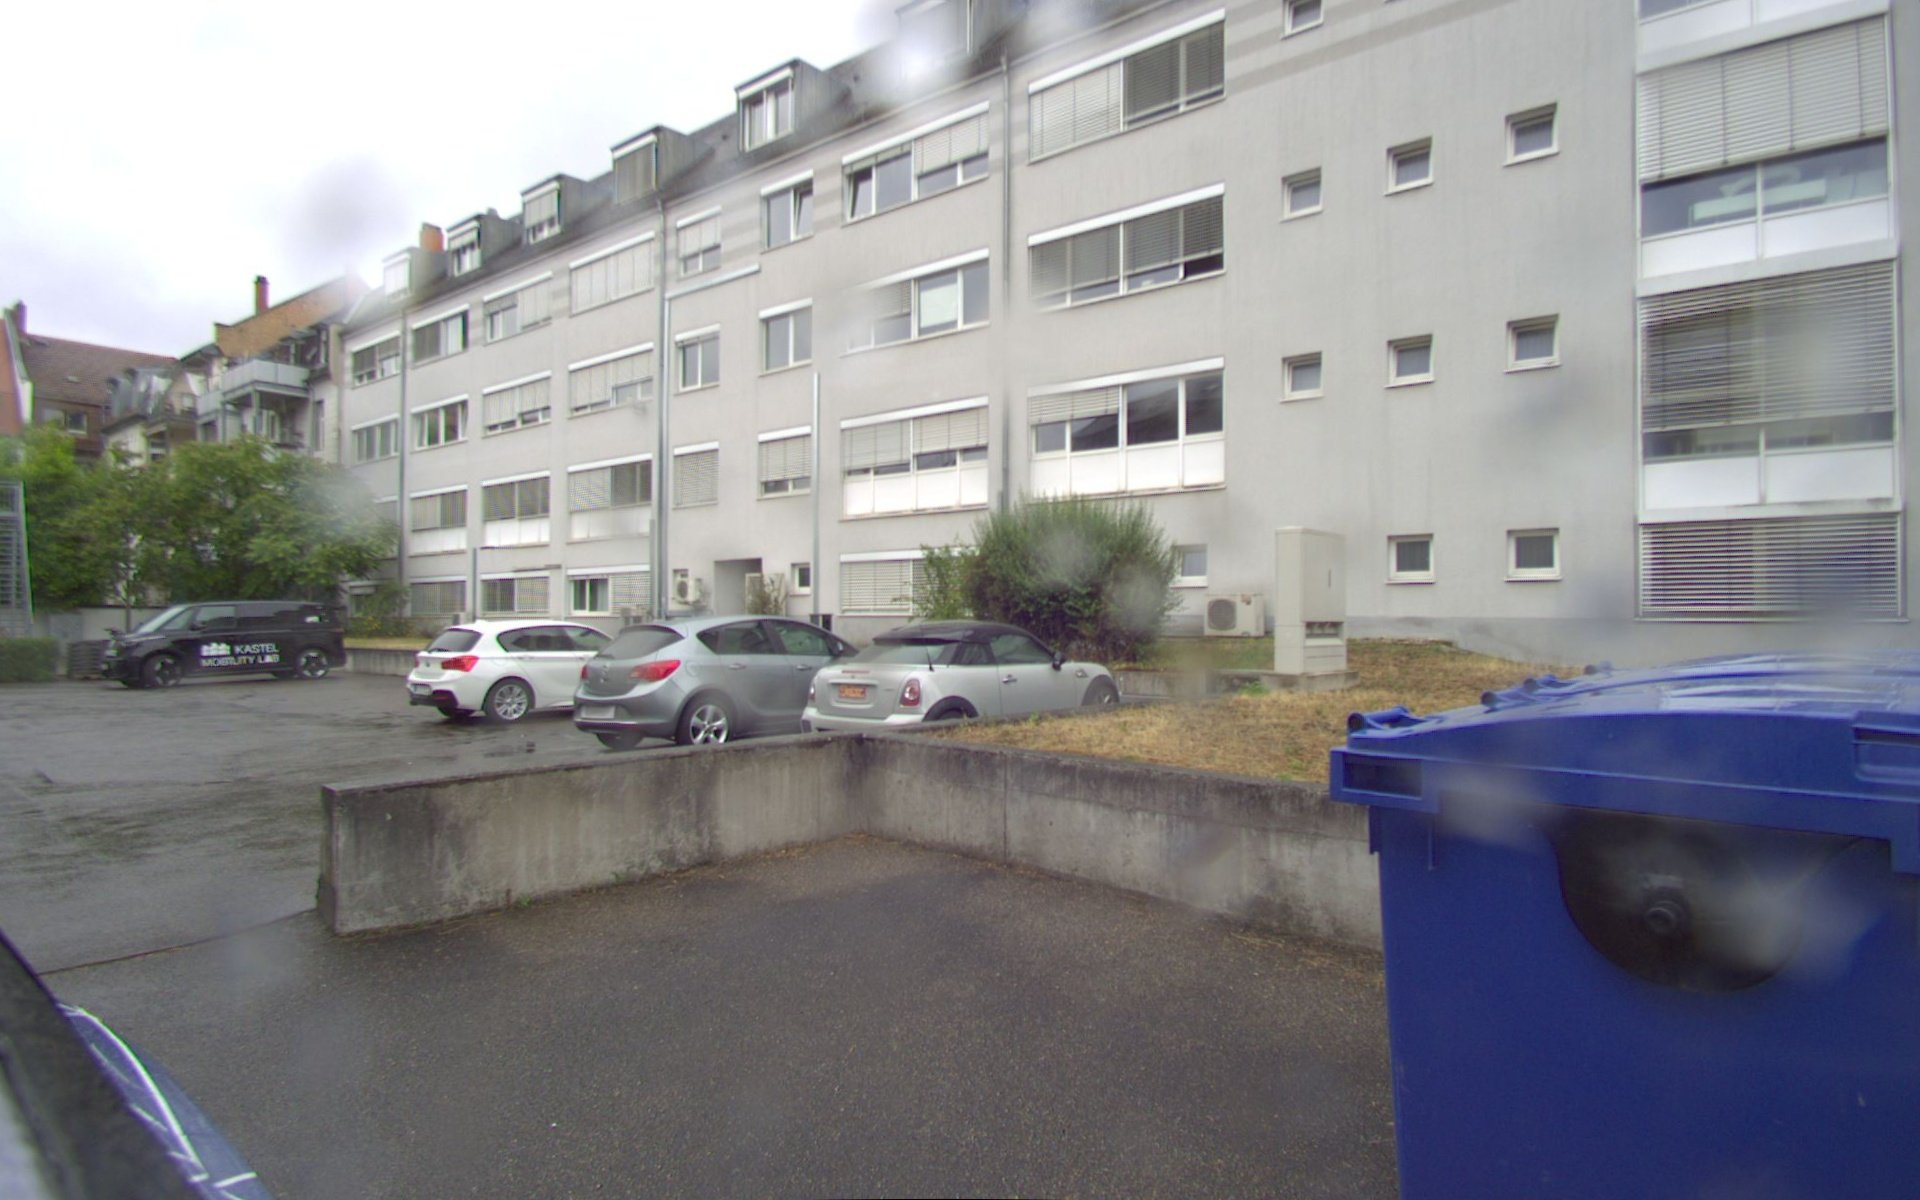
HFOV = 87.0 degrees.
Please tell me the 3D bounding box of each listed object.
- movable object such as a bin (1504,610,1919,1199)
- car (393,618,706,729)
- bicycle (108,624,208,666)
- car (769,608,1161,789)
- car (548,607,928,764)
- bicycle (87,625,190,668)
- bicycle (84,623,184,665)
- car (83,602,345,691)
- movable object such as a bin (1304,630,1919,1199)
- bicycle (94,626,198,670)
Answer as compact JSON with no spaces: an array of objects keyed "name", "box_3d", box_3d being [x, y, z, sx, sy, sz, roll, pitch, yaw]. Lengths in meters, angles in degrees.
[{"name":"movable object such as a bin","box_3d":[2.341,0.724,2.811,1.117,1.347,1.189,-4,-2,45]},{"name":"car","box_3d":[-6.092,1.004,15.410,1.751,1.444,4.099,-1,-1,39]},{"name":"bicycle","box_3d":[-24.308,1.330,30.705,0.644,1.195,2.287,2,1,44]},{"name":"car","box_3d":[0.247,0.847,10.479,1.821,1.343,4.123,-2,0,40]},{"name":"car","box_3d":[-2.404,0.866,11.812,1.820,1.495,4.124,-2,-2,39]},{"name":"bicycle","box_3d":[-24.204,1.340,29.848,0.644,1.195,2.287,2,1,44]},{"name":"bicycle","box_3d":[-25.020,1.312,30.685,0.644,1.195,2.287,2,1,44]},{"name":"car","box_3d":[-17.280,1.026,23.671,1.984,1.851,4.575,-3,-2,36]},{"name":"movable object such as a bin","box_3d":[1.451,0.738,1.851,1.188,1.347,1.118,1,-1,-42]},{"name":"bicycle","box_3d":[-23.575,1.361,29.351,0.644,1.195,2.287,2,1,44]}]
